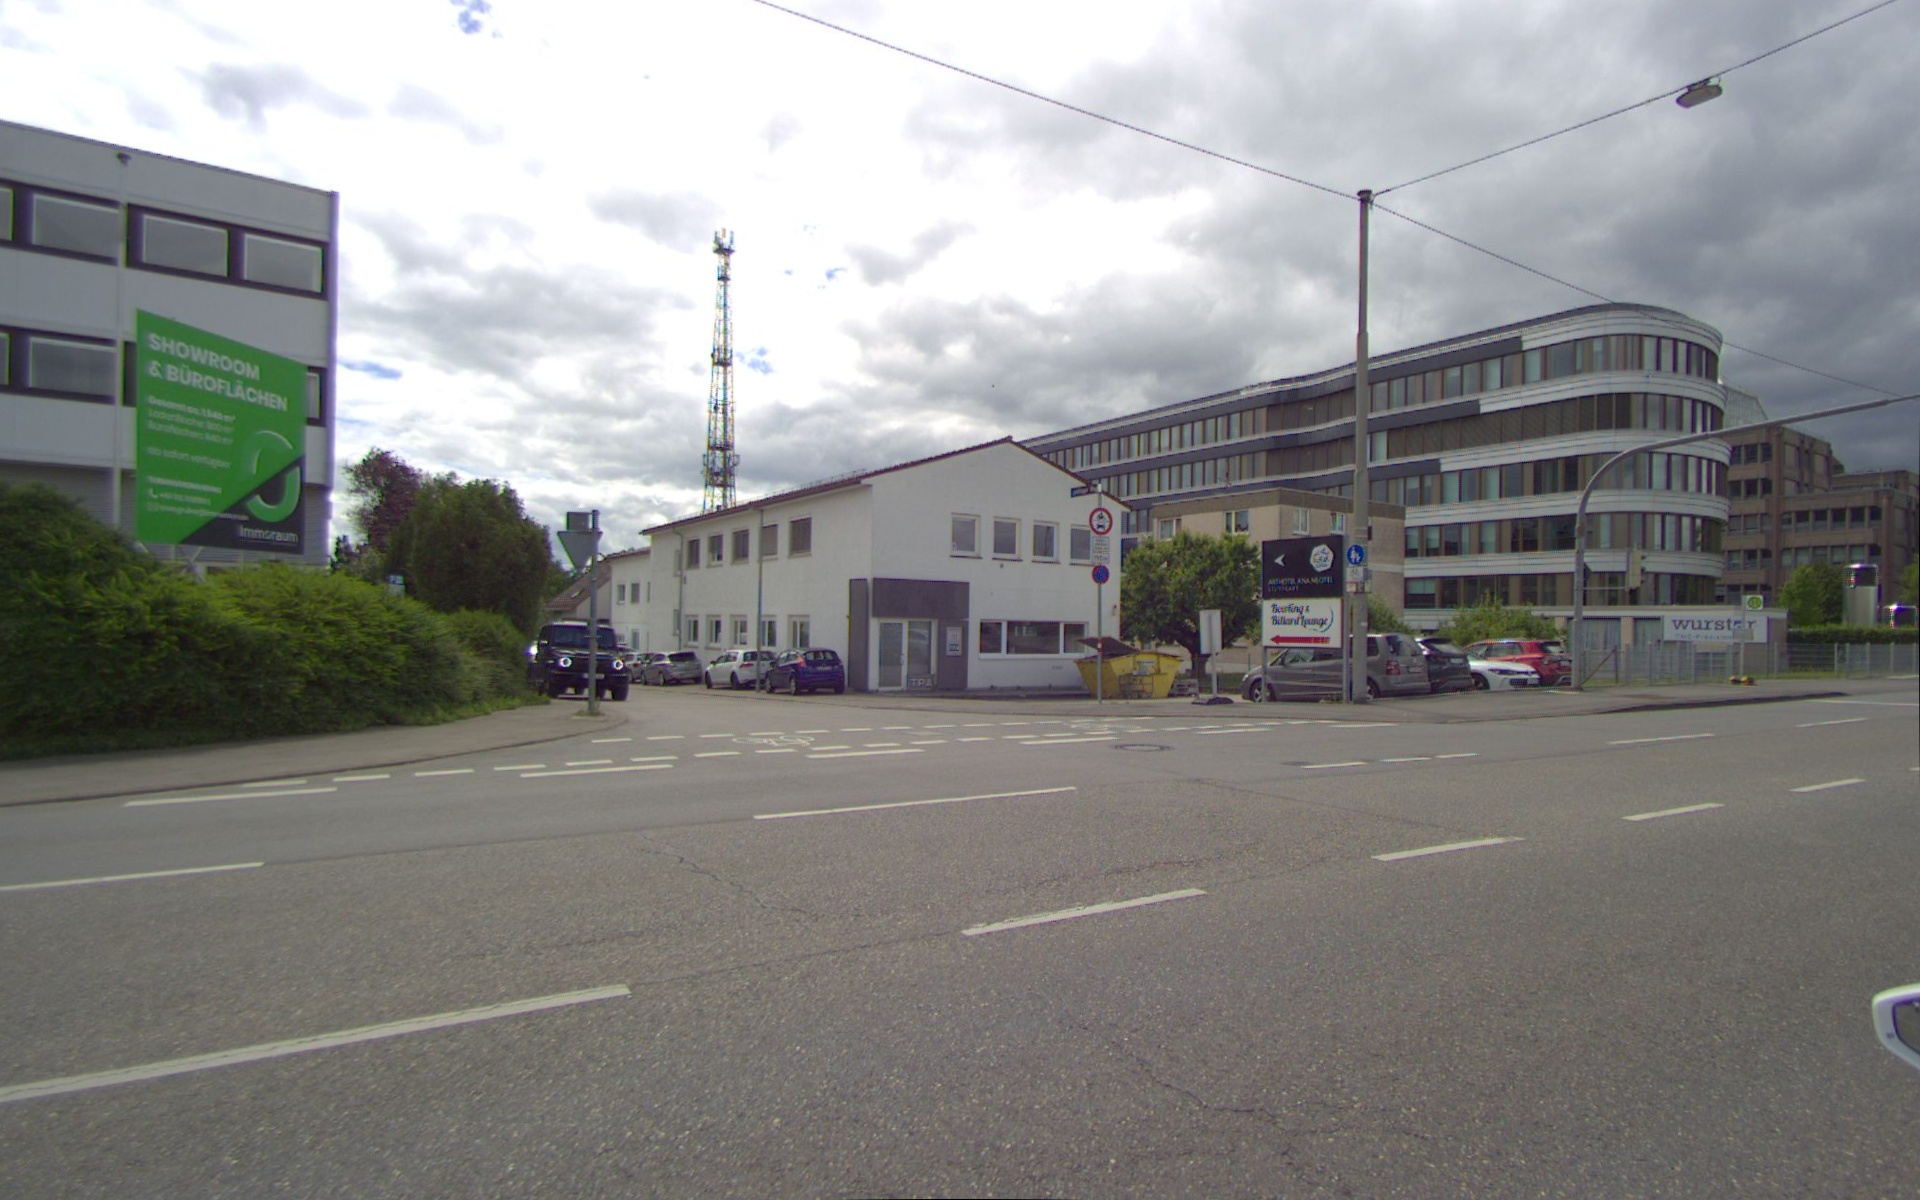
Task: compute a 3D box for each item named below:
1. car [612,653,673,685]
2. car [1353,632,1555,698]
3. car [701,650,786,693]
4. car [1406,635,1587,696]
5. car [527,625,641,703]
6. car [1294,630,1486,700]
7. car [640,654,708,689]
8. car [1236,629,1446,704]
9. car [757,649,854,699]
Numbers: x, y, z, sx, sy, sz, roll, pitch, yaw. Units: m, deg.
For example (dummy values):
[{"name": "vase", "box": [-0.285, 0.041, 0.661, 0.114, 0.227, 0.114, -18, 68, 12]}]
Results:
[{"name": "car", "box": [-15.336, 3.328, 48.388, 1.791, 1.401, 3.904, 0, -3, -34]}, {"name": "car", "box": [12.595, 1.735, 25.866, 1.965, 1.404, 4.198, 3, -8, -35]}, {"name": "car", "box": [-8.125, 2.651, 37.485, 1.791, 1.438, 3.904, 0, -3, -34]}, {"name": "car", "box": [14.624, 1.848, 27.597, 1.828, 1.386, 3.969, 2, -8, -32]}, {"name": "car", "box": [-9.981, 1.736, 26.434, 2.144, 1.816, 4.736, 4, -6, -28]}, {"name": "car", "box": [10.494, 1.667, 24.799, 1.835, 1.442, 3.969, 2, -8, -32]}, {"name": "car", "box": [-12.576, 3.120, 44.034, 1.791, 1.401, 3.904, 0, -3, -34]}, {"name": "car", "box": [8.641, 1.568, 23.069, 1.891, 1.415, 4.066, 1, -7, -37]}, {"name": "car", "box": [-5.010, 2.339, 32.222, 1.789, 1.438, 3.909, -1, -3, -30]}]
